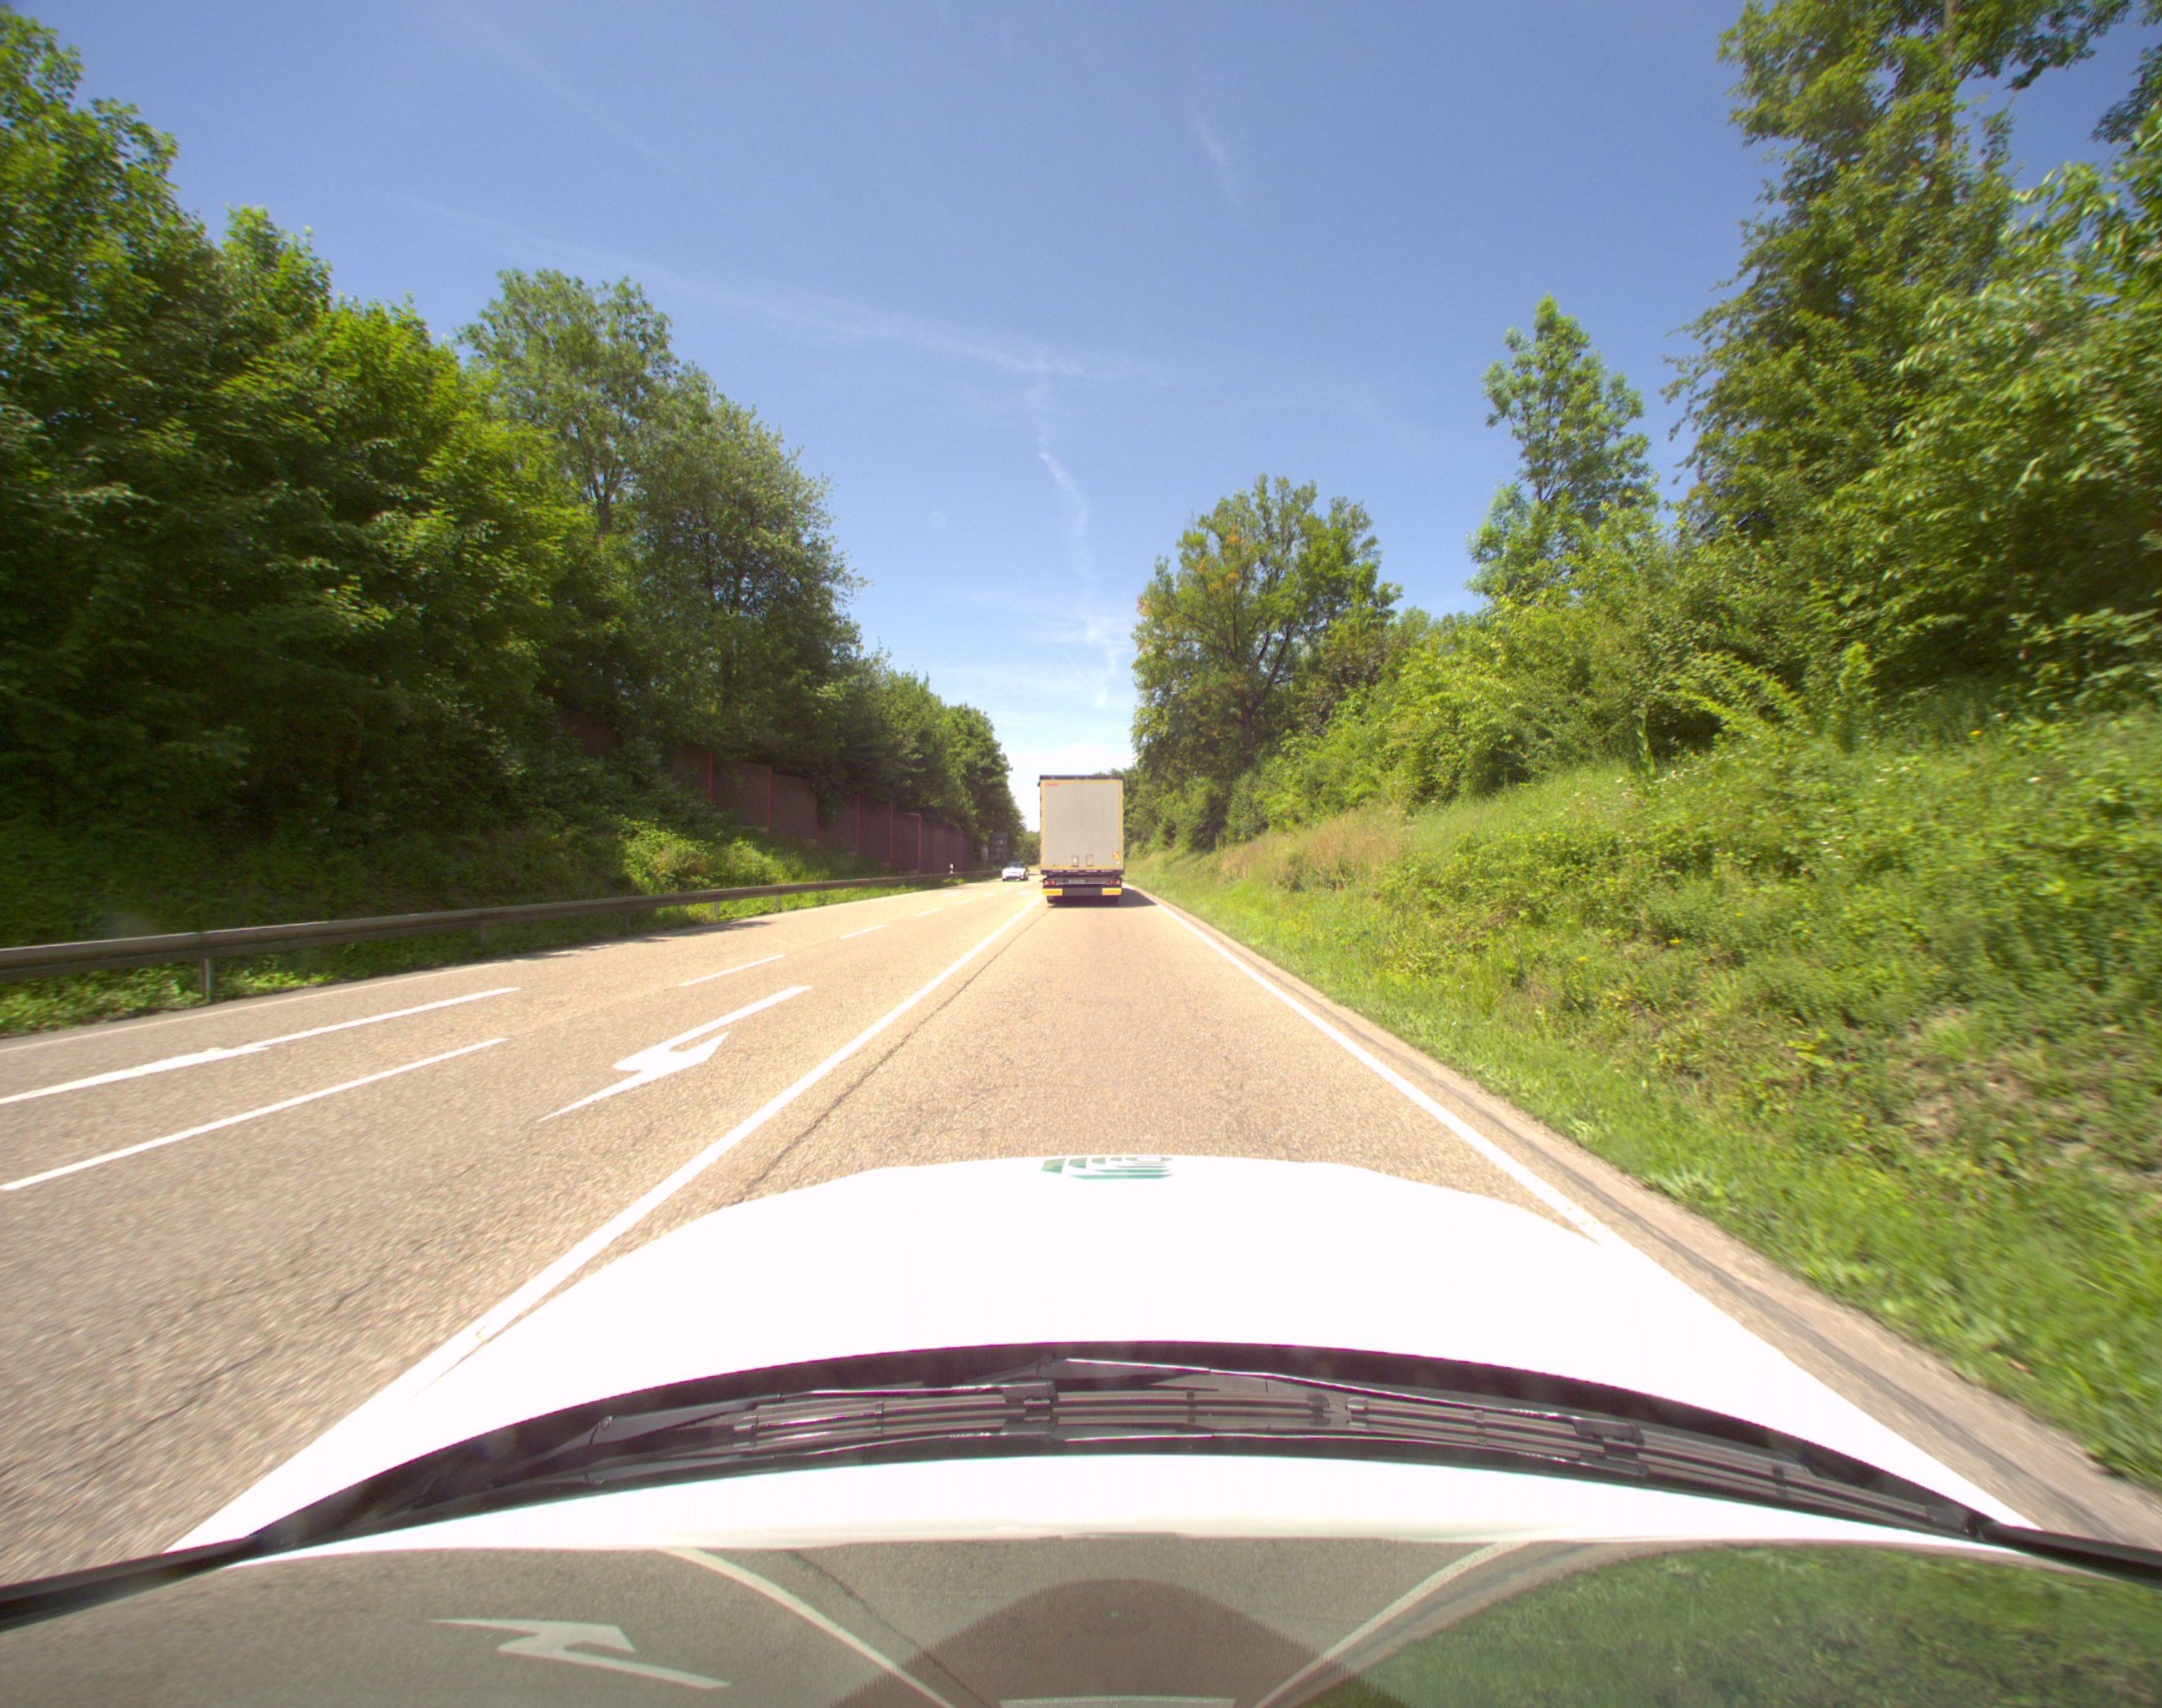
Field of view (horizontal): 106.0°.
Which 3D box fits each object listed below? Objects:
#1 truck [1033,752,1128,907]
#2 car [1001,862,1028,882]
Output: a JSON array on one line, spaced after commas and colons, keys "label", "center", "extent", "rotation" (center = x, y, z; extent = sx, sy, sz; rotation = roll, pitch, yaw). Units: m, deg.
[{"label": "truck", "center": [0.002, -0.762, 27.717], "extent": [2.813, 4.603, 6.665], "rotation": [0, 0, 0]}, {"label": "car", "center": [-4.965, 1.310, 61.178], "extent": [1.801, 1.435, 3.869], "rotation": [-1, 0, -1]}]
